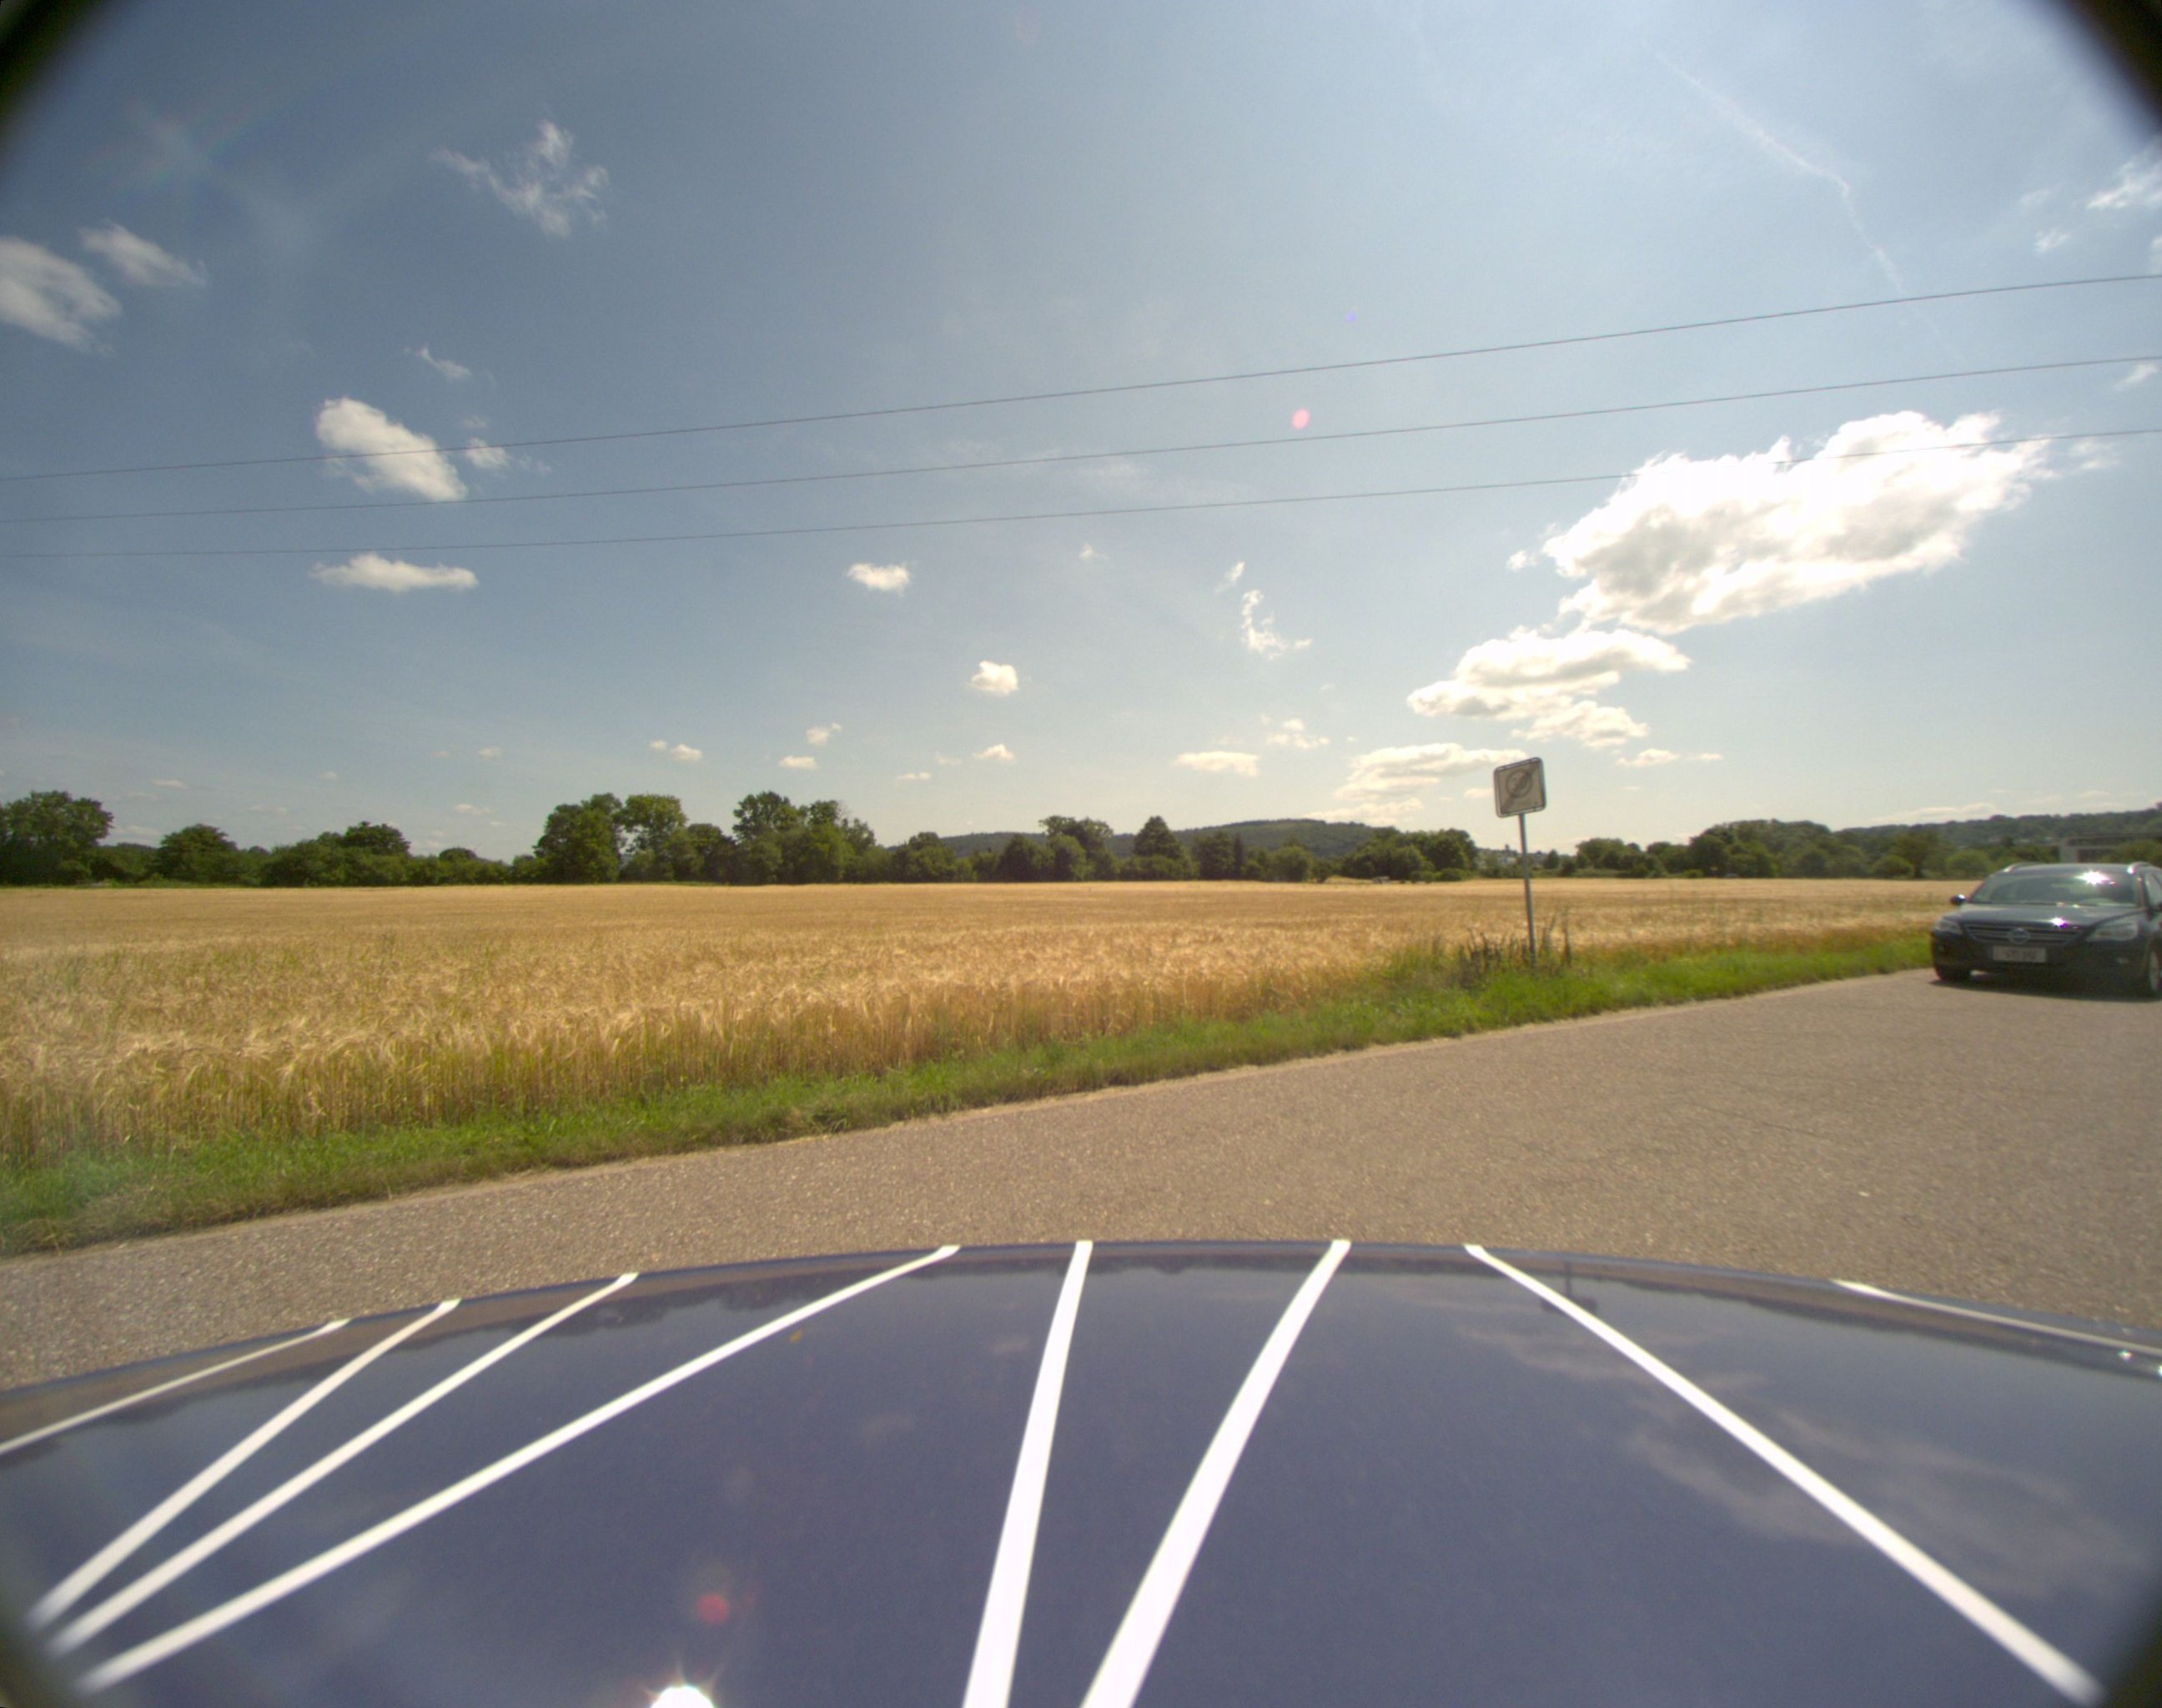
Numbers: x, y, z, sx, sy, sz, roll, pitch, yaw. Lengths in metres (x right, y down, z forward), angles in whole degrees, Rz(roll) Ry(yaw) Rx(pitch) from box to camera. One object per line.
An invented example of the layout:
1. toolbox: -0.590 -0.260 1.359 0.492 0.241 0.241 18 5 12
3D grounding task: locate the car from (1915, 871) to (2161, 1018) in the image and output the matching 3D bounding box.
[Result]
1. car: 13.561 1.075 10.473 4.261 1.669 1.746 1 -1 -28
